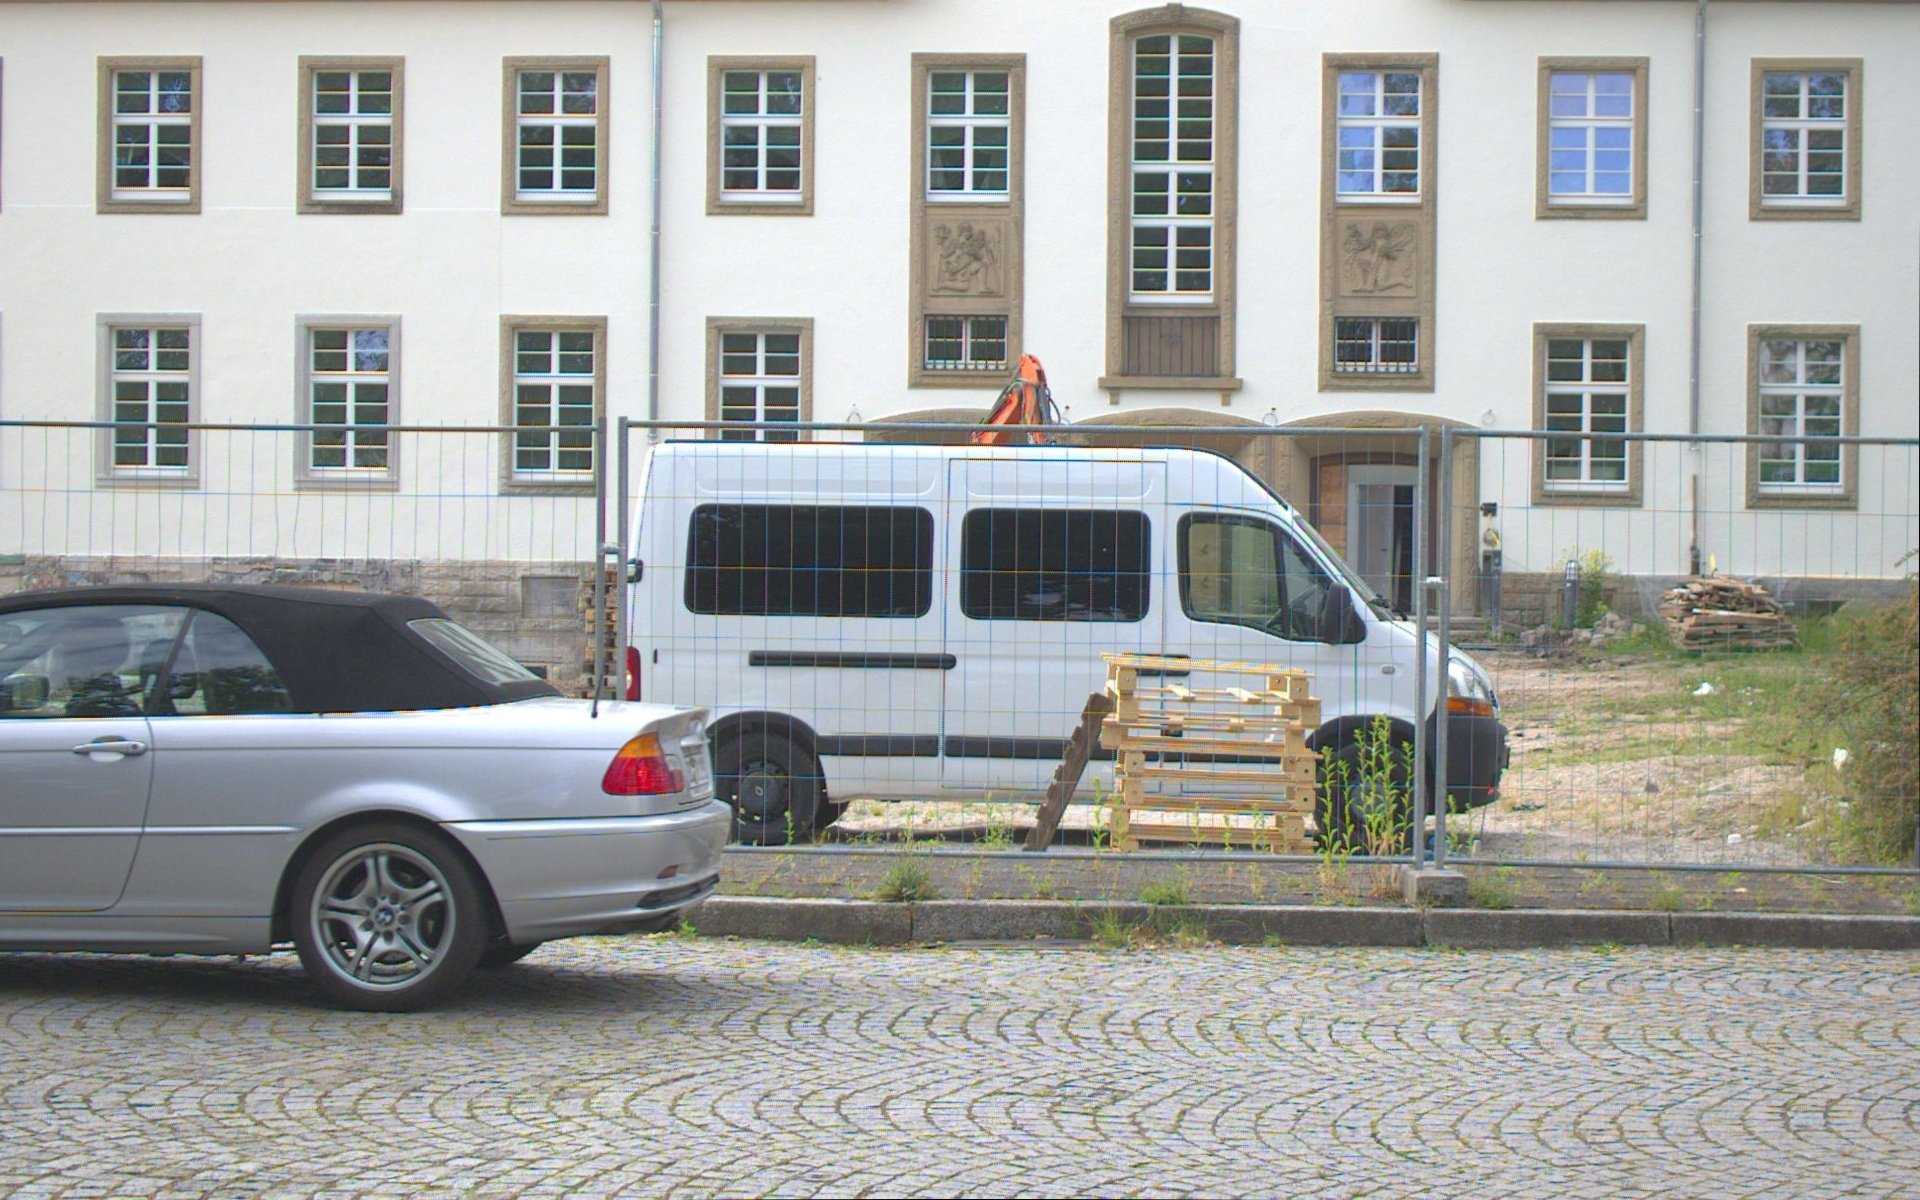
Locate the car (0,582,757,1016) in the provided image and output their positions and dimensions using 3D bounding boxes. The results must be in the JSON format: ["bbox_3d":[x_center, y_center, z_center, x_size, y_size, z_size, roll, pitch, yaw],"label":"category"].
[{"bbox_3d":[-2.910,0.626,11.768,4.280,1.342,1.607,1,-1,2],"label":"car"}]

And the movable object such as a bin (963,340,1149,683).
[{"bbox_3d":[1.070,-1.016,40.688,1.993,3.758,5.318,1,1,0],"label":"movable object such as a bin"}]

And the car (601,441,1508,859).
[{"bbox_3d":[0.607,0.266,20.998,5.264,2.336,1.910,1,1,5],"label":"car"}]
